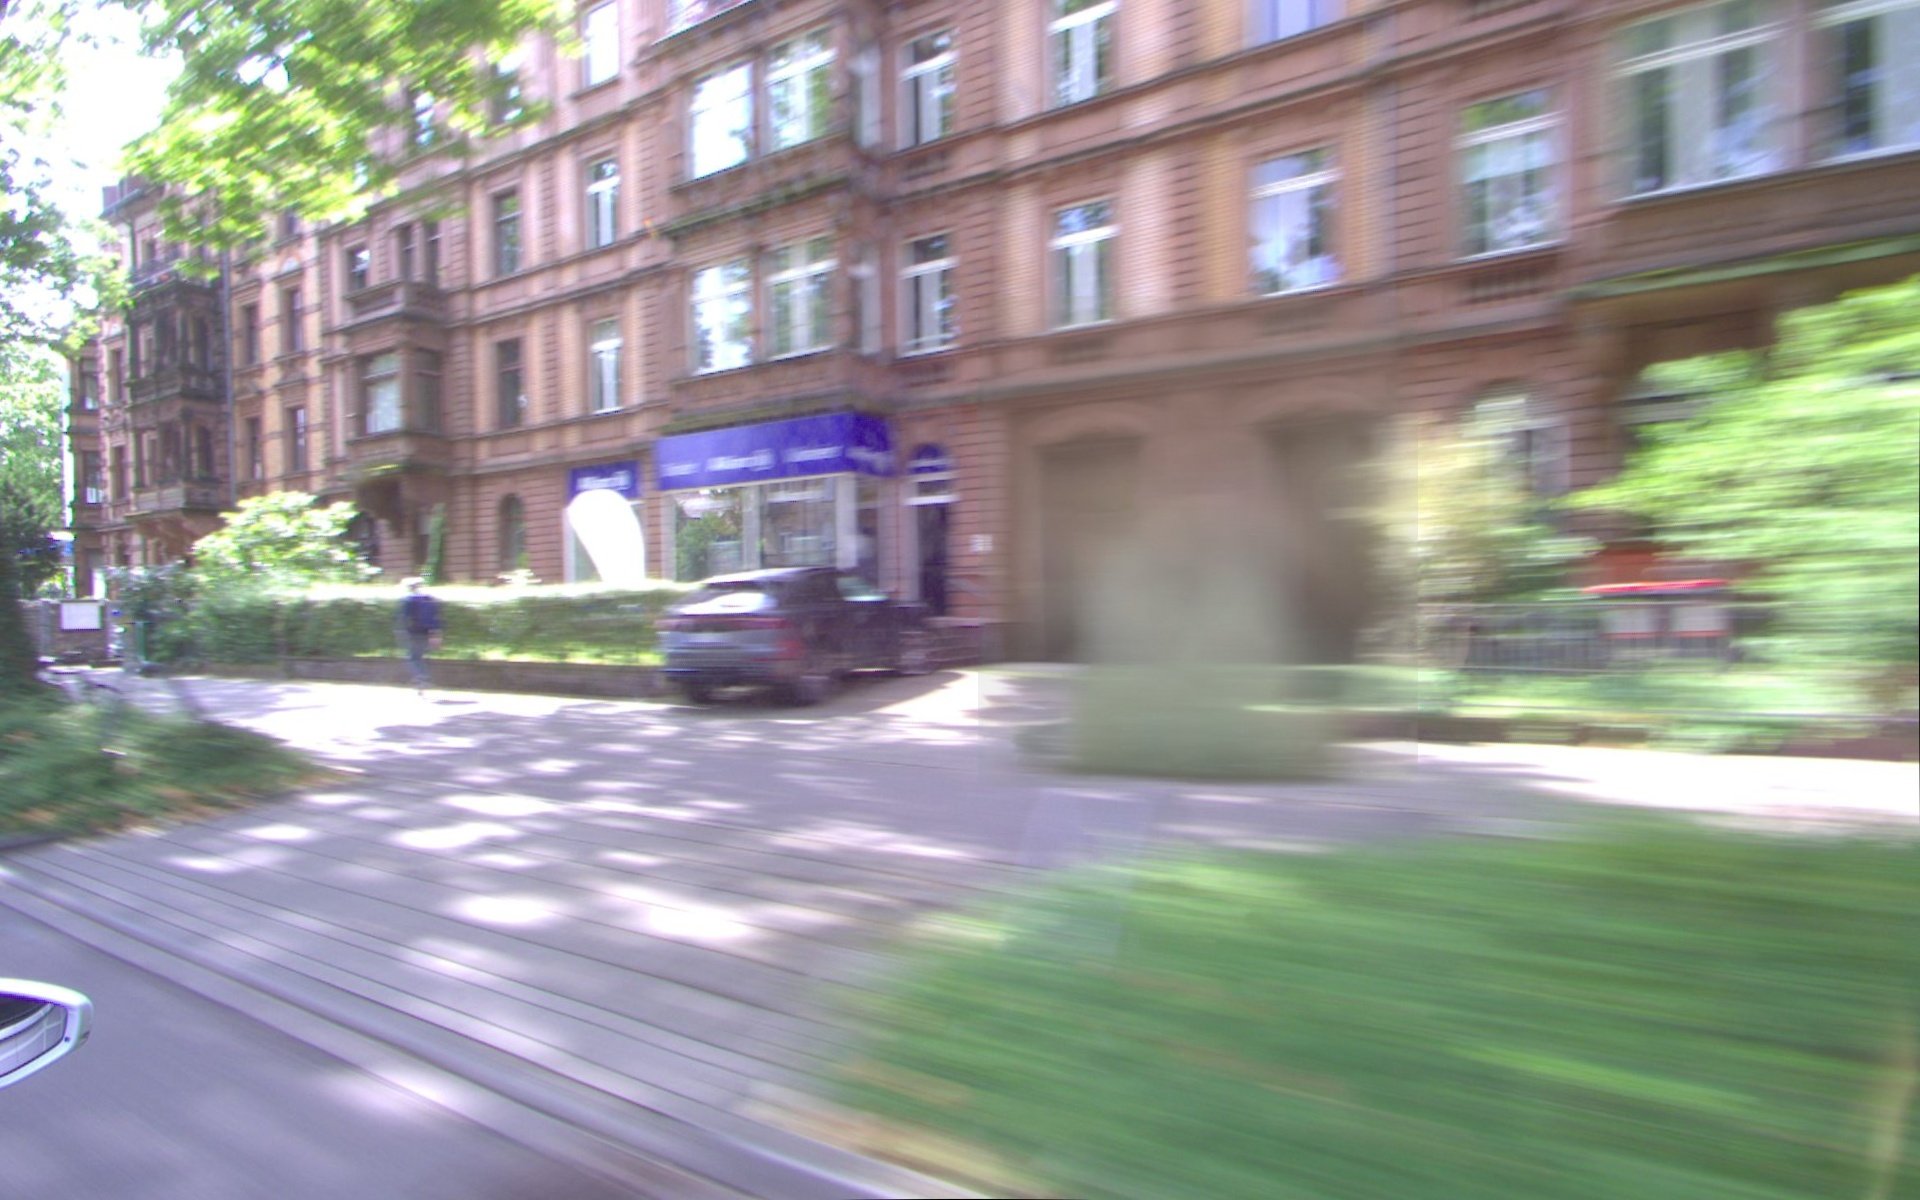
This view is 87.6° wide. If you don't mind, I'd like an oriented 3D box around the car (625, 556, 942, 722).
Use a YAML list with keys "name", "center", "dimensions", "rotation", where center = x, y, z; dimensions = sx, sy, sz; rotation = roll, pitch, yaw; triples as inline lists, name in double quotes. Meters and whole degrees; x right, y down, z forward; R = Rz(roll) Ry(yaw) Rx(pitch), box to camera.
- name: "car"
  center: [-2.149, 0.363, 13.809]
  dimensions: [1.972, 1.807, 4.718]
  rotation: [-1, 3, 24]

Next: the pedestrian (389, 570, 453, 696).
- name: "pedestrian"
  center: [-7.896, 0.473, 14.678]
  dimensions: [0.621, 1.810, 0.563]
  rotation: [0, 1, 32]

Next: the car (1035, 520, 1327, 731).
- name: "car"
  center: [2.787, 0.127, 11.708]
  dimensions: [1.955, 1.966, 4.384]
  rotation: [0, 3, 32]

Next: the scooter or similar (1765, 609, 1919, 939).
- name: "scooter or similar"
  center: [3.919, 0.650, 3.786]
  dimensions: [1.304, 1.227, 0.466]
  rotation: [0, 1, 32]

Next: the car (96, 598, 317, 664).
- name: "car"
  center: [-19.723, 0.758, 26.415]
  dimensions: [1.914, 1.489, 4.224]
  rotation: [-1, 1, 32]

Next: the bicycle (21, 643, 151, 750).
- name: "bicycle"
  center: [-9.224, 0.988, 10.568]
  dimensions: [1.303, 1.033, 0.579]
  rotation: [0, 1, 27]
